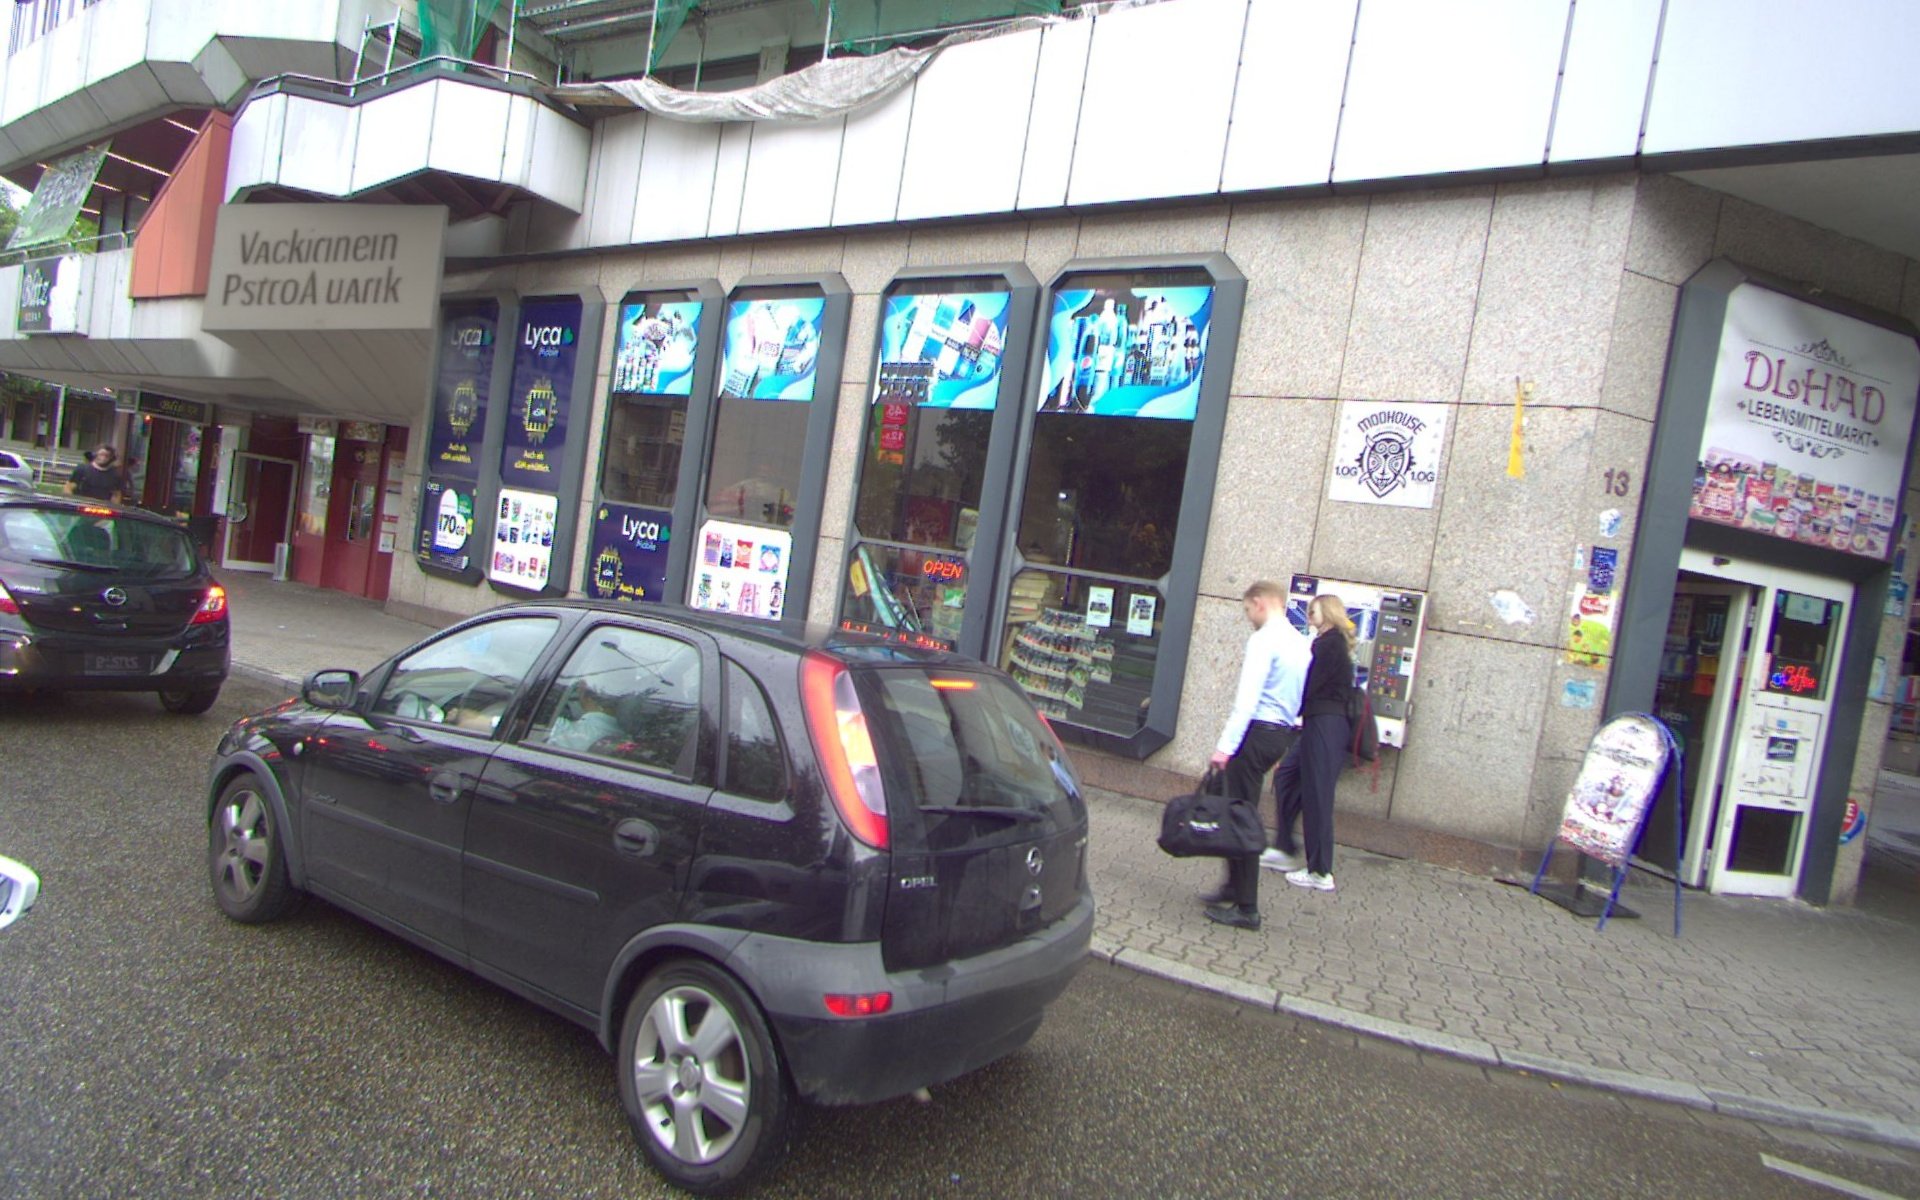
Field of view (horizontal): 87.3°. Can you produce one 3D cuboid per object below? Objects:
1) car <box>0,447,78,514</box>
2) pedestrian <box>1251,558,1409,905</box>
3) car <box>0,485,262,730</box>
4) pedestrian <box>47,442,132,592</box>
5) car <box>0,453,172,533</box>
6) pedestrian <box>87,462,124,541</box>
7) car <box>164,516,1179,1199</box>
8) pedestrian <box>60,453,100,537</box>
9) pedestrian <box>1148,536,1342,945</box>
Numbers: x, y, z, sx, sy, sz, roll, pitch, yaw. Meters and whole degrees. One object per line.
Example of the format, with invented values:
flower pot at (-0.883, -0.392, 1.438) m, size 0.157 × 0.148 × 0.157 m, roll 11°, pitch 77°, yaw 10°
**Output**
car at (-26.328, -3.411, 26.771) m, size 1.593 × 1.503 × 3.911 m, roll 6°, pitch -2°, yaw 19°
pedestrian at (2.295, 0.757, 6.222) m, size 0.629 × 1.961 × 0.736 m, roll 6°, pitch 4°, yaw 31°
car at (-7.090, -0.116, 7.372) m, size 3.776 × 1.446 × 1.620 m, roll 8°, pitch -1°, yaw 29°
pedestrian at (-11.277, -1.059, 13.030) m, size 0.763 × 1.841 × 0.739 m, roll 7°, pitch 4°, yaw 43°
car at (-23.259, -2.802, 25.734) m, size 1.760 × 1.473 × 4.504 m, roll 10°, pitch 1°, yaw 22°
pedestrian at (-18.710, -2.159, 22.017) m, size 0.496 × 1.660 × 0.396 m, roll 6°, pitch 1°, yaw 32°
car at (-1.240, 0.652, 3.801) m, size 3.563 × 1.446 × 1.609 m, roll 8°, pitch -1°, yaw 33°
pedestrian at (-18.671, -2.227, 21.350) m, size 0.443 × 1.704 × 0.426 m, roll 6°, pitch 1°, yaw 30°
pedestrian at (1.534, 0.704, 5.356) m, size 0.629 × 1.957 × 0.737 m, roll 6°, pitch -1°, yaw 31°
